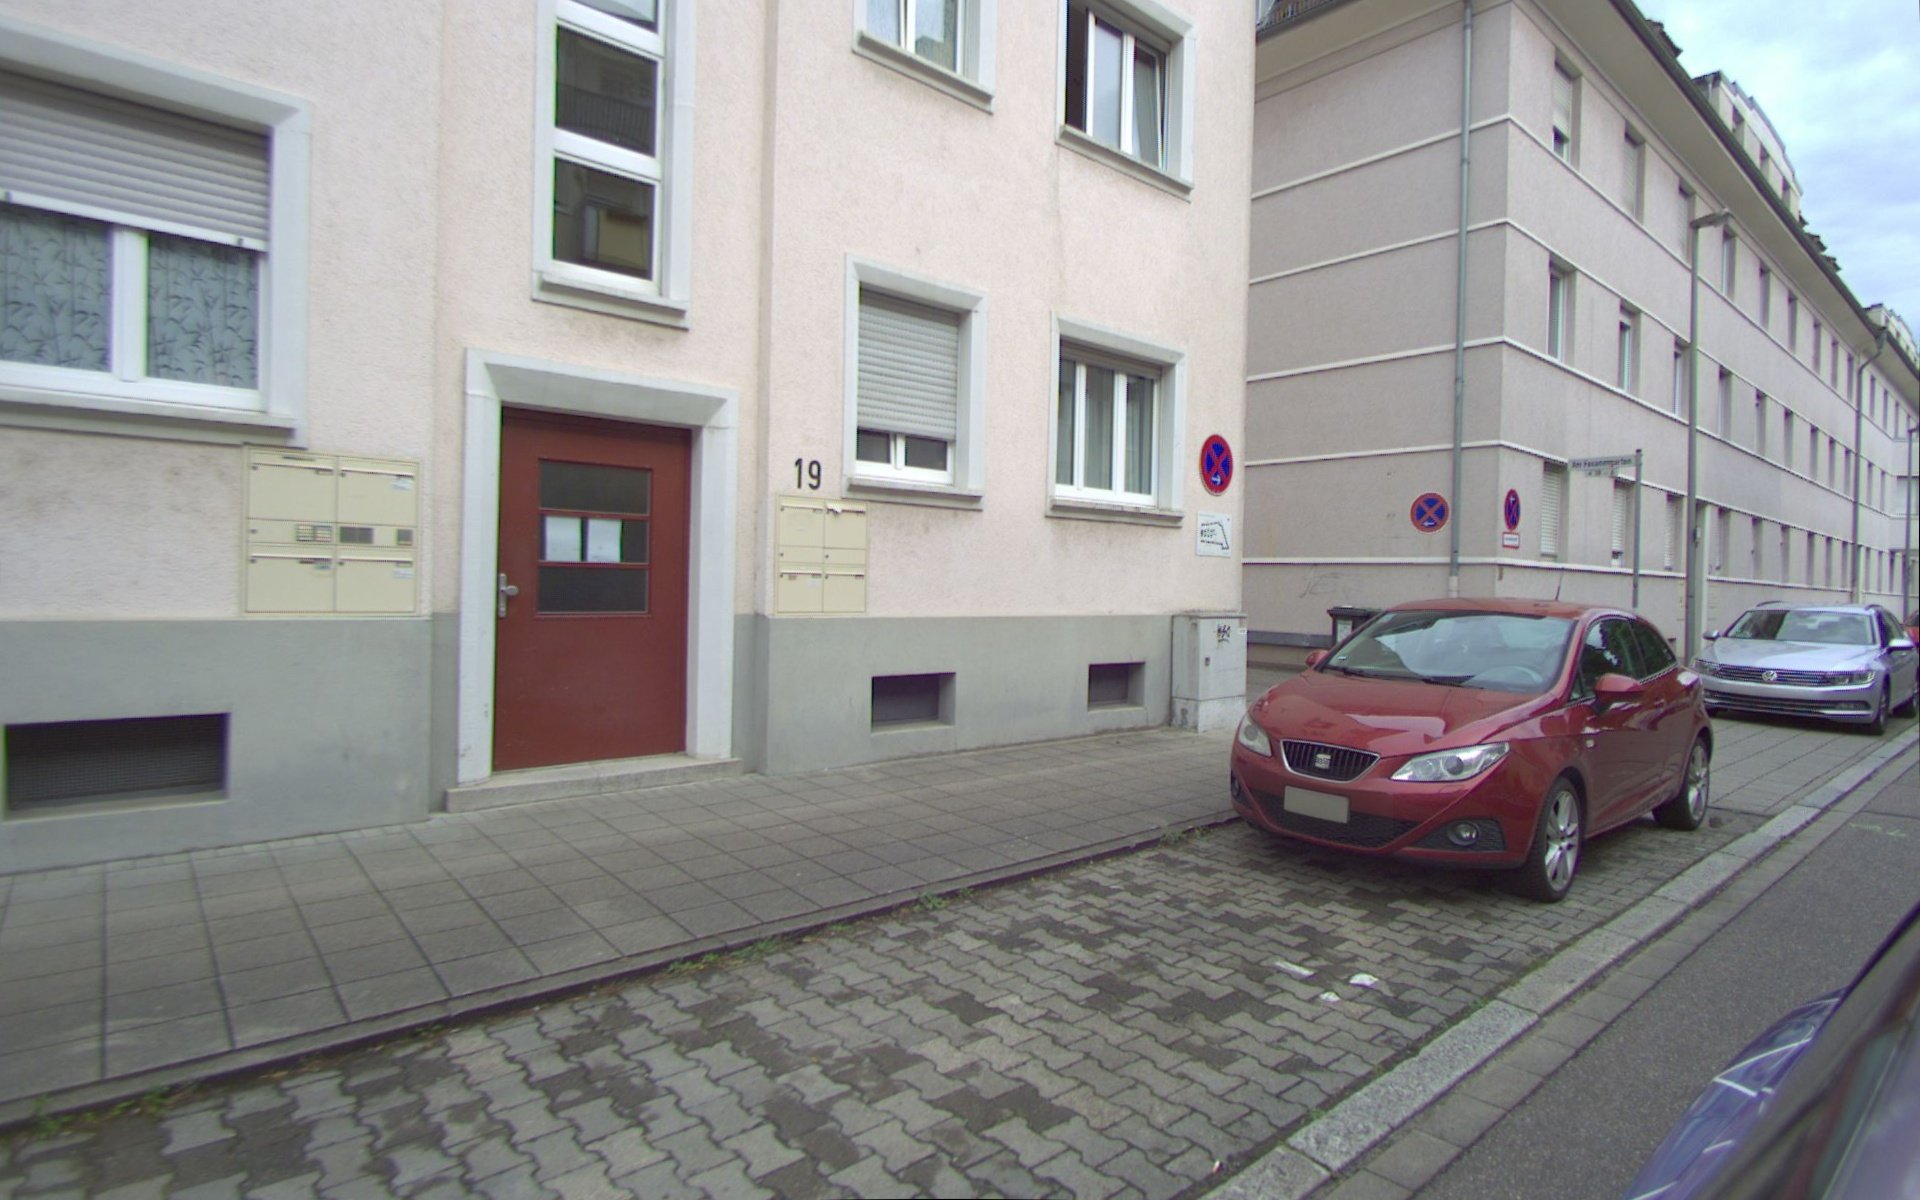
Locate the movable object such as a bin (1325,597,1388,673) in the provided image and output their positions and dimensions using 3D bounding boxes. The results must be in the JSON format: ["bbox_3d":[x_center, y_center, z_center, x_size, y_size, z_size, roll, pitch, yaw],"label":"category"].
[{"bbox_3d":[5.816,0.501,14.852,0.692,1.055,0.550,1,2,-38],"label":"movable object such as a bin"}]

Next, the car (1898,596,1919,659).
[{"bbox_3d":[24.780,0.702,25.136,3.707,1.504,1.758,1,2,-41],"label":"car"}]

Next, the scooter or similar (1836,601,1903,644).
[{"bbox_3d":[27.578,0.682,30.702,1.441,1.248,0.652,2,1,-5],"label":"scooter or similar"}]

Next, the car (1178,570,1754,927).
[{"bbox_3d":[3.268,0.621,6.207,3.867,1.426,1.758,1,4,-41],"label":"car"}]

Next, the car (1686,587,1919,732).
[{"bbox_3d":[10.749,0.634,12.687,3.969,1.482,1.791,1,2,-41],"label":"car"}]

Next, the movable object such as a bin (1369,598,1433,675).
[{"bbox_3d":[6.319,0.512,14.507,0.692,1.055,0.550,1,2,-38],"label":"movable object such as a bin"}]
